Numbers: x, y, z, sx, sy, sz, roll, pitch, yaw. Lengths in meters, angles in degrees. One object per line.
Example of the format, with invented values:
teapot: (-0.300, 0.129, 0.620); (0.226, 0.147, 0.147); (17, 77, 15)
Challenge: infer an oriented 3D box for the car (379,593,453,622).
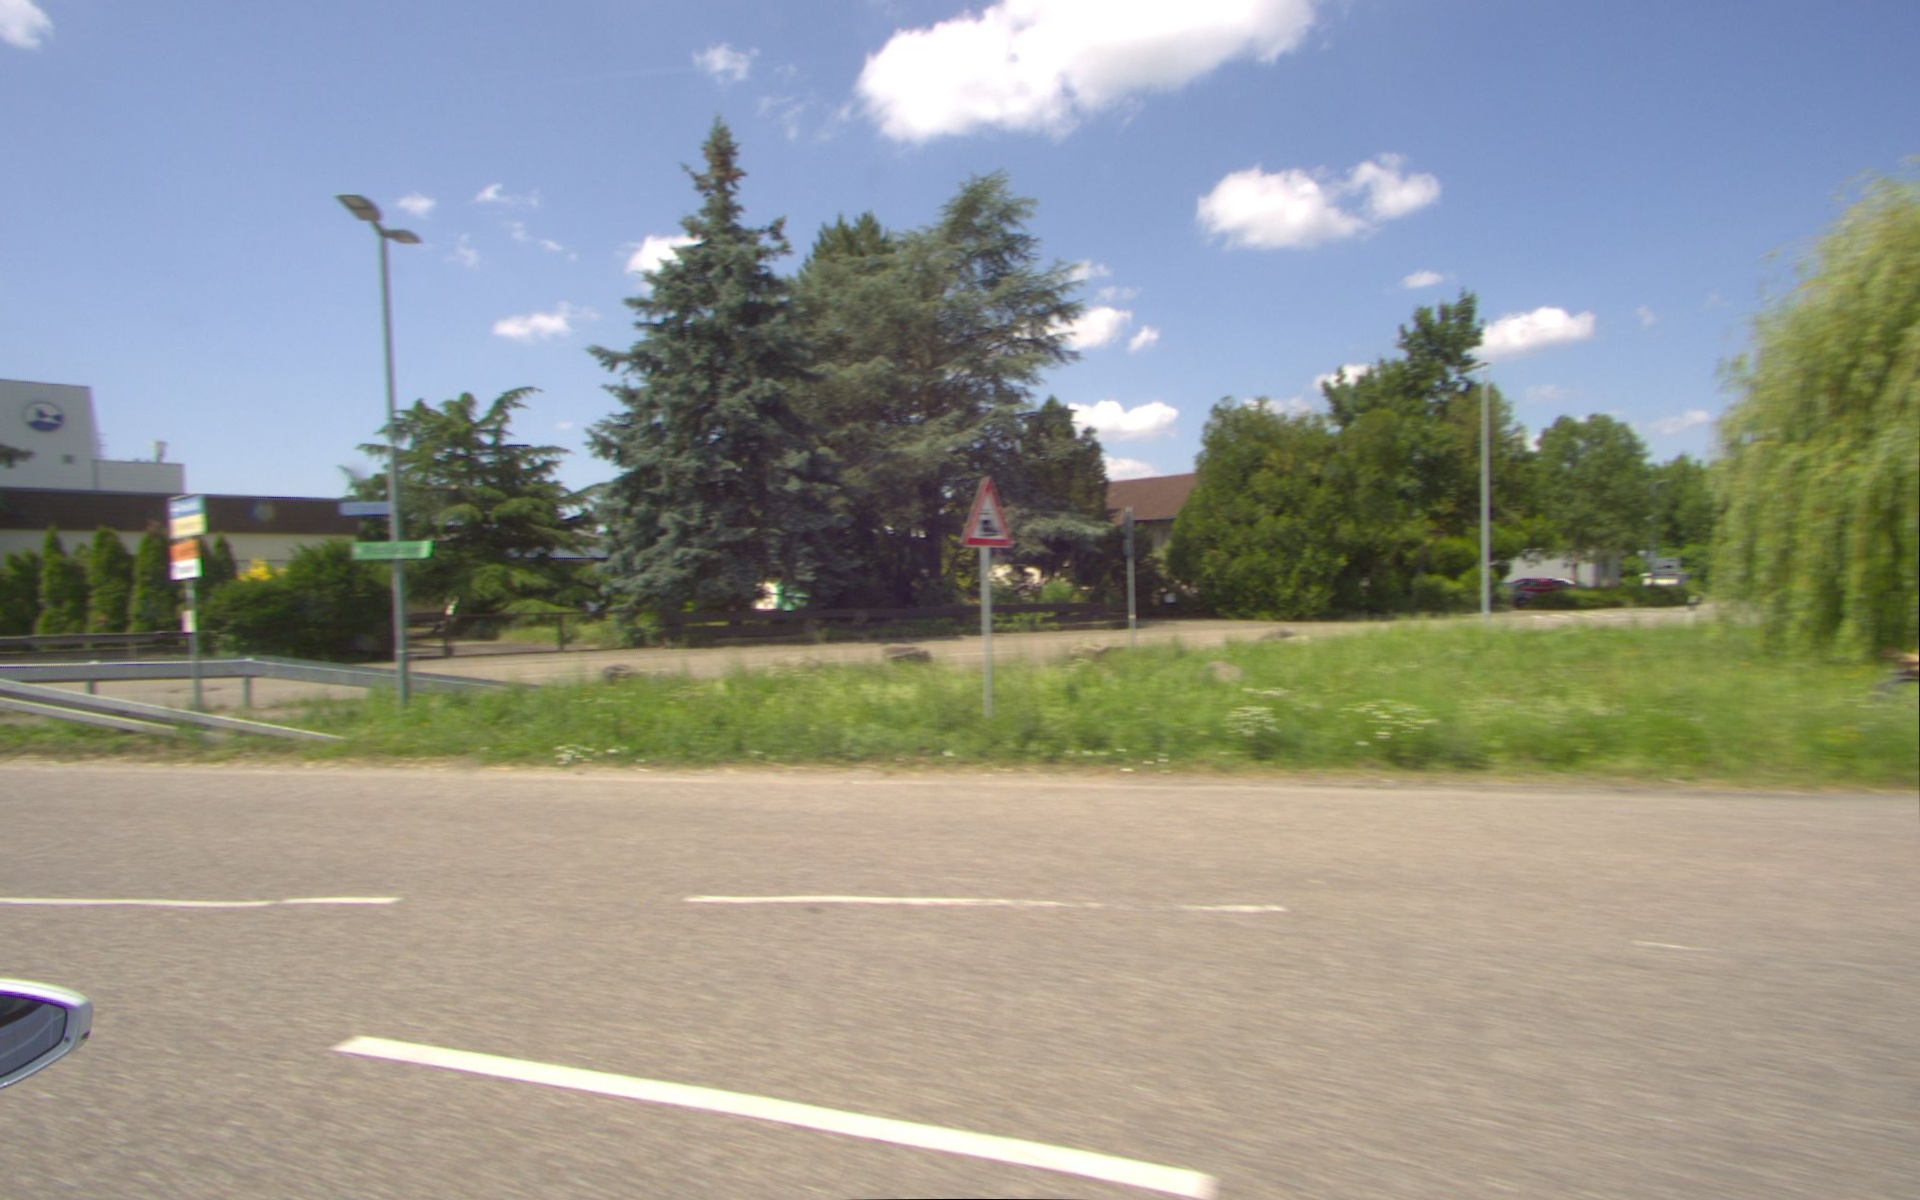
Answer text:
car: (-31.813, 0.397, 58.588); (3.499, 1.607, 1.550); (-2, 2, -43)

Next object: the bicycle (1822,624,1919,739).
bicycle: (10.611, 0.880, 10.620); (0.653, 1.180, 2.131); (-2, 1, -36)
